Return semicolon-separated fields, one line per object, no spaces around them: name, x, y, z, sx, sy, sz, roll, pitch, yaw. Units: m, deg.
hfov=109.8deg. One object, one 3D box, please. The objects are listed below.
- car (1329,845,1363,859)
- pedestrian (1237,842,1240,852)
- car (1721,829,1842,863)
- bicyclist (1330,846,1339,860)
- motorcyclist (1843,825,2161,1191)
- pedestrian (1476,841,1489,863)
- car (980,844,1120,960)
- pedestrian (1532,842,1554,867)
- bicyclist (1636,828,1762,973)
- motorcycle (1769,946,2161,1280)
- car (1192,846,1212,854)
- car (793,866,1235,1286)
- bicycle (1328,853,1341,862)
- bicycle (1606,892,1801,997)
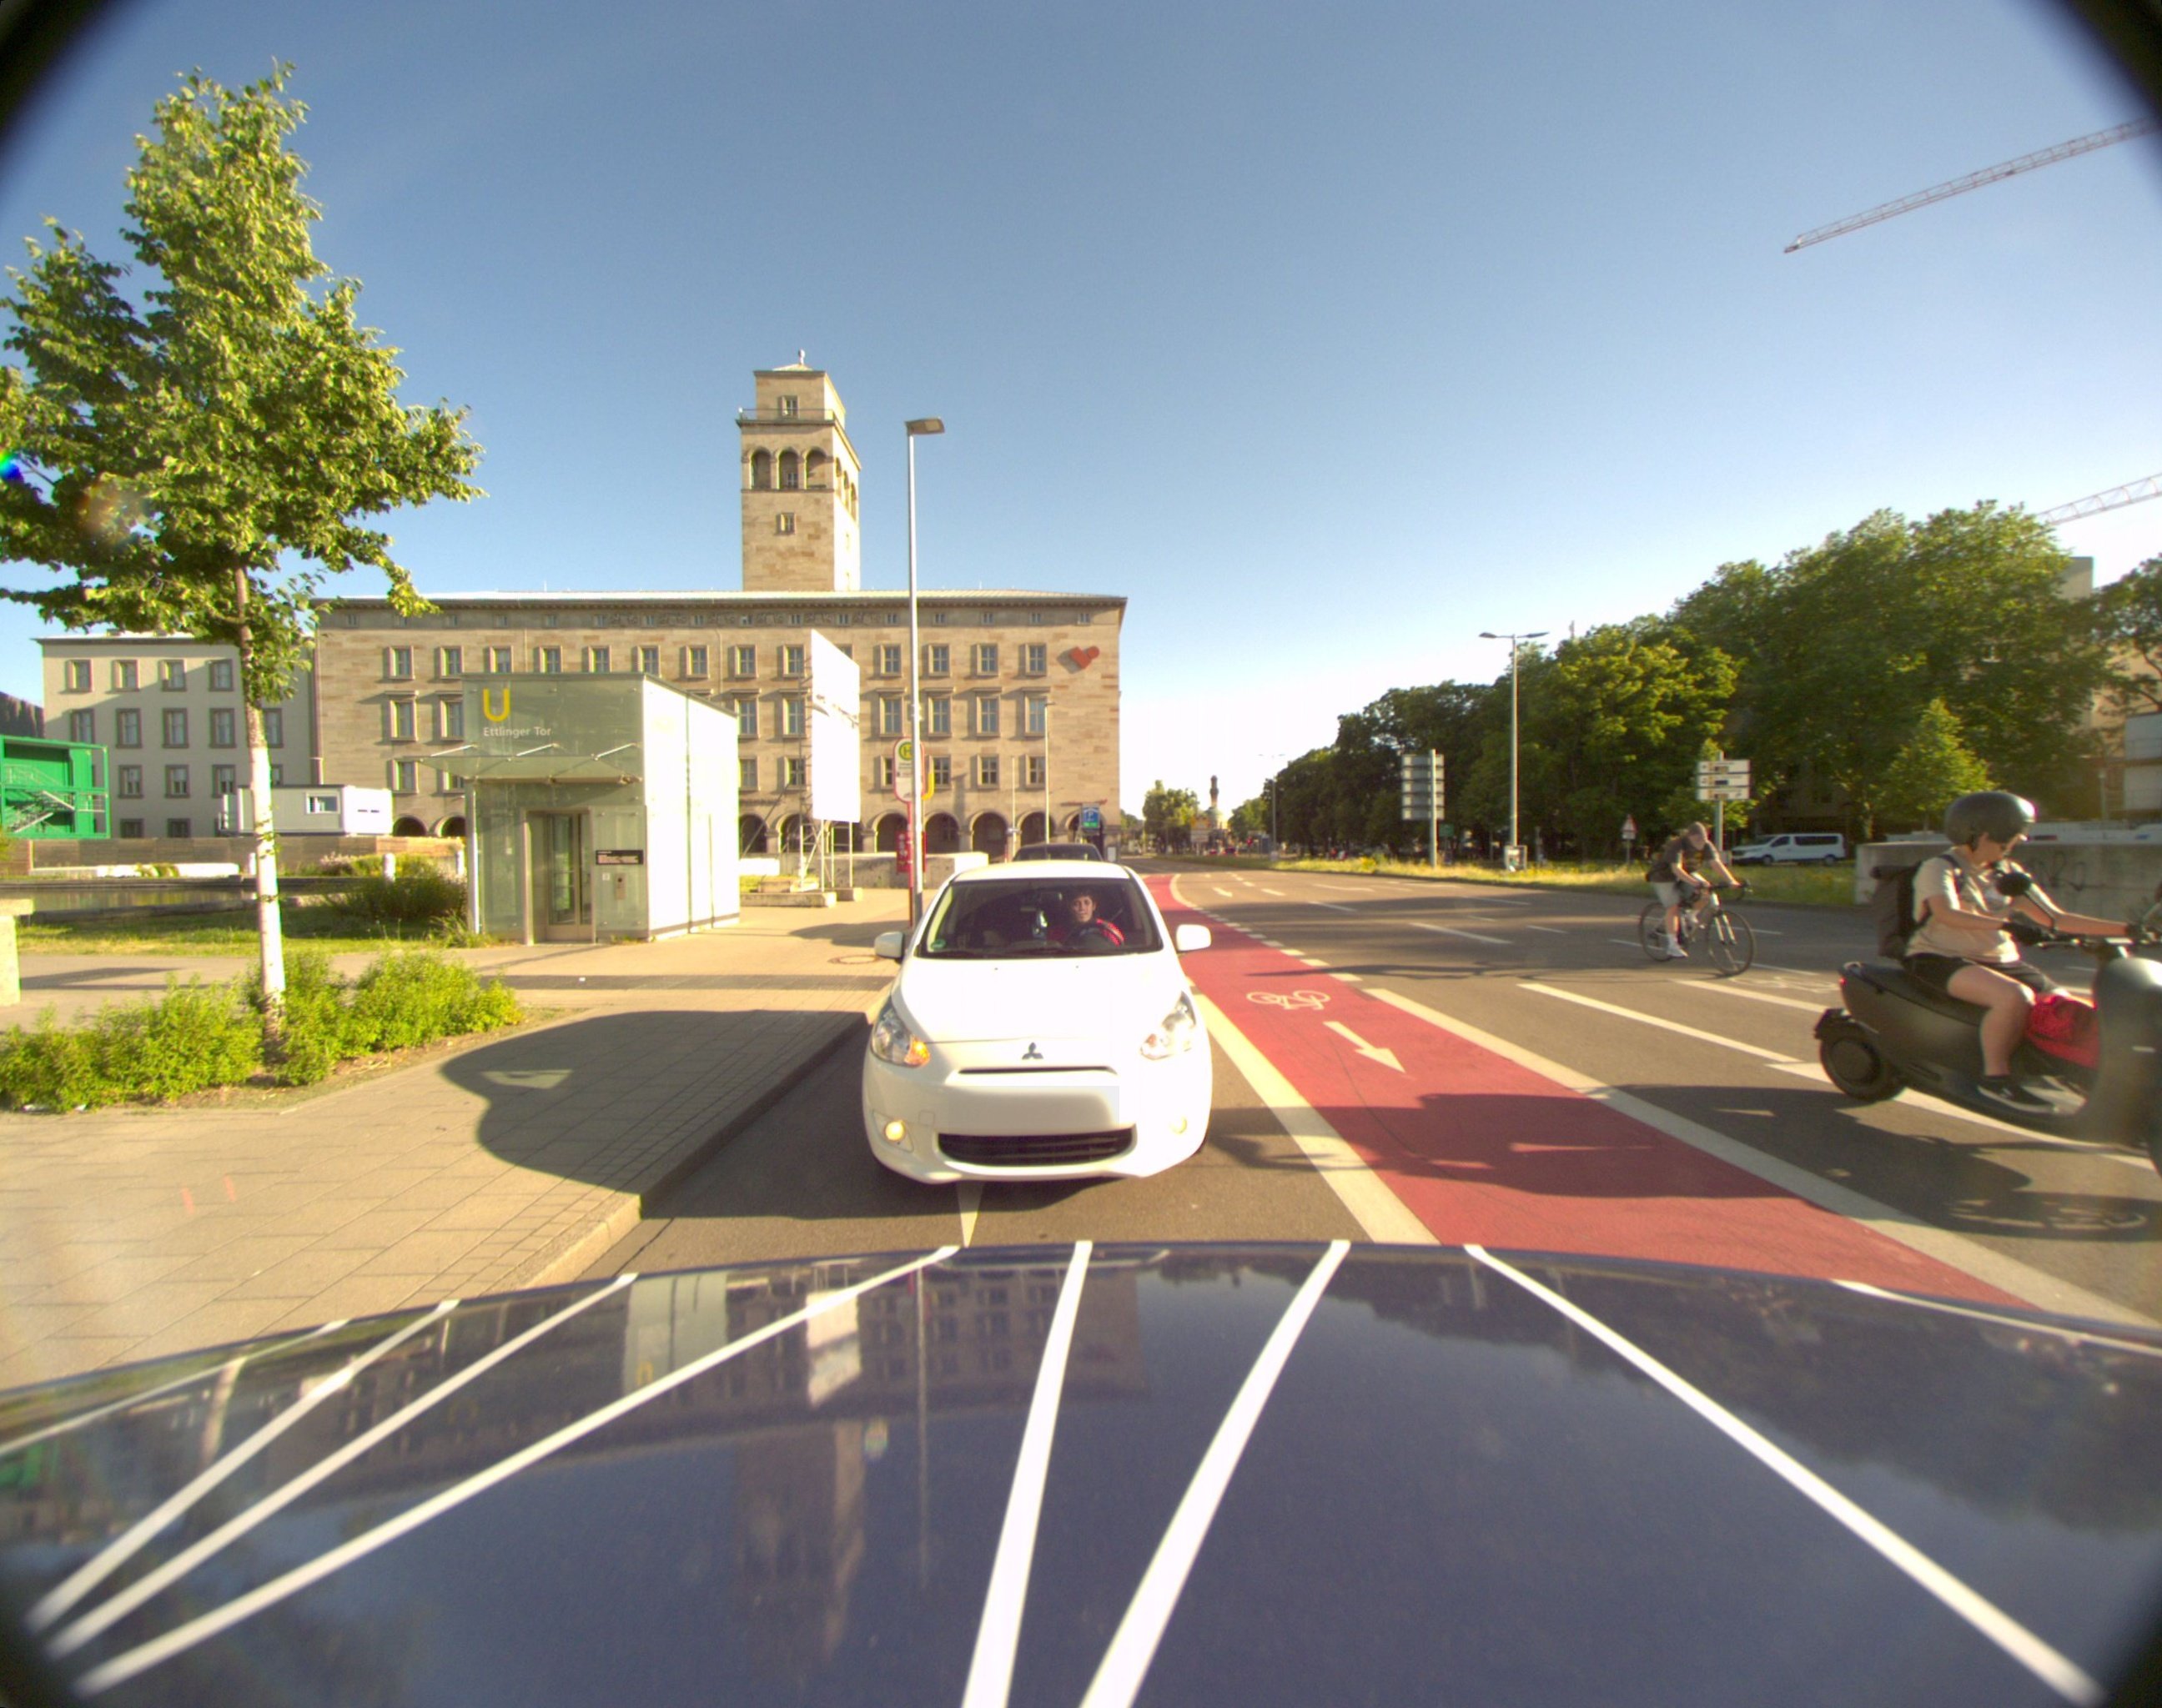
car;23.142;-0.218;66.463;1.618;1.126;3.770;-2;1;-1
pedestrian;31.642;-1.421;152.883;0.525;2.002;0.594;-1;1;-2
car;41.924;-0.461;45.556;5.325;1.880;2.000;-1;0;2
bicyclist;24.254;-0.106;72.612;0.617;1.359;0.768;-1;1;1
motorcyclist;4.325;0.621;3.501;0.756;1.475;0.882;-1;1;5
pedestrian;32.211;-0.185;60.981;0.664;1.717;0.697;-1;1;0
car;-0.461;0.663;13.320;1.999;1.652;4.791;-1;1;0
pedestrian;33.850;0.013;55.710;0.997;1.773;0.964;-2;2;1
bicyclist;6.747;0.478;8.338;0.624;1.495;0.938;-2;1;2
motorcycle;4.328;1.034;3.449;0.756;0.963;1.960;-1;1;5
car;25.282;-0.881;158.895;3.767;1.443;1.619;-2;1;2
car;-0.232;0.905;4.945;1.660;1.463;3.968;-3;1;1
bicycle;24.261;0.363;72.628;0.617;0.800;1.979;-1;1;1
bicycle;6.760;0.934;8.396;0.624;0.903;1.910;-2;1;2
